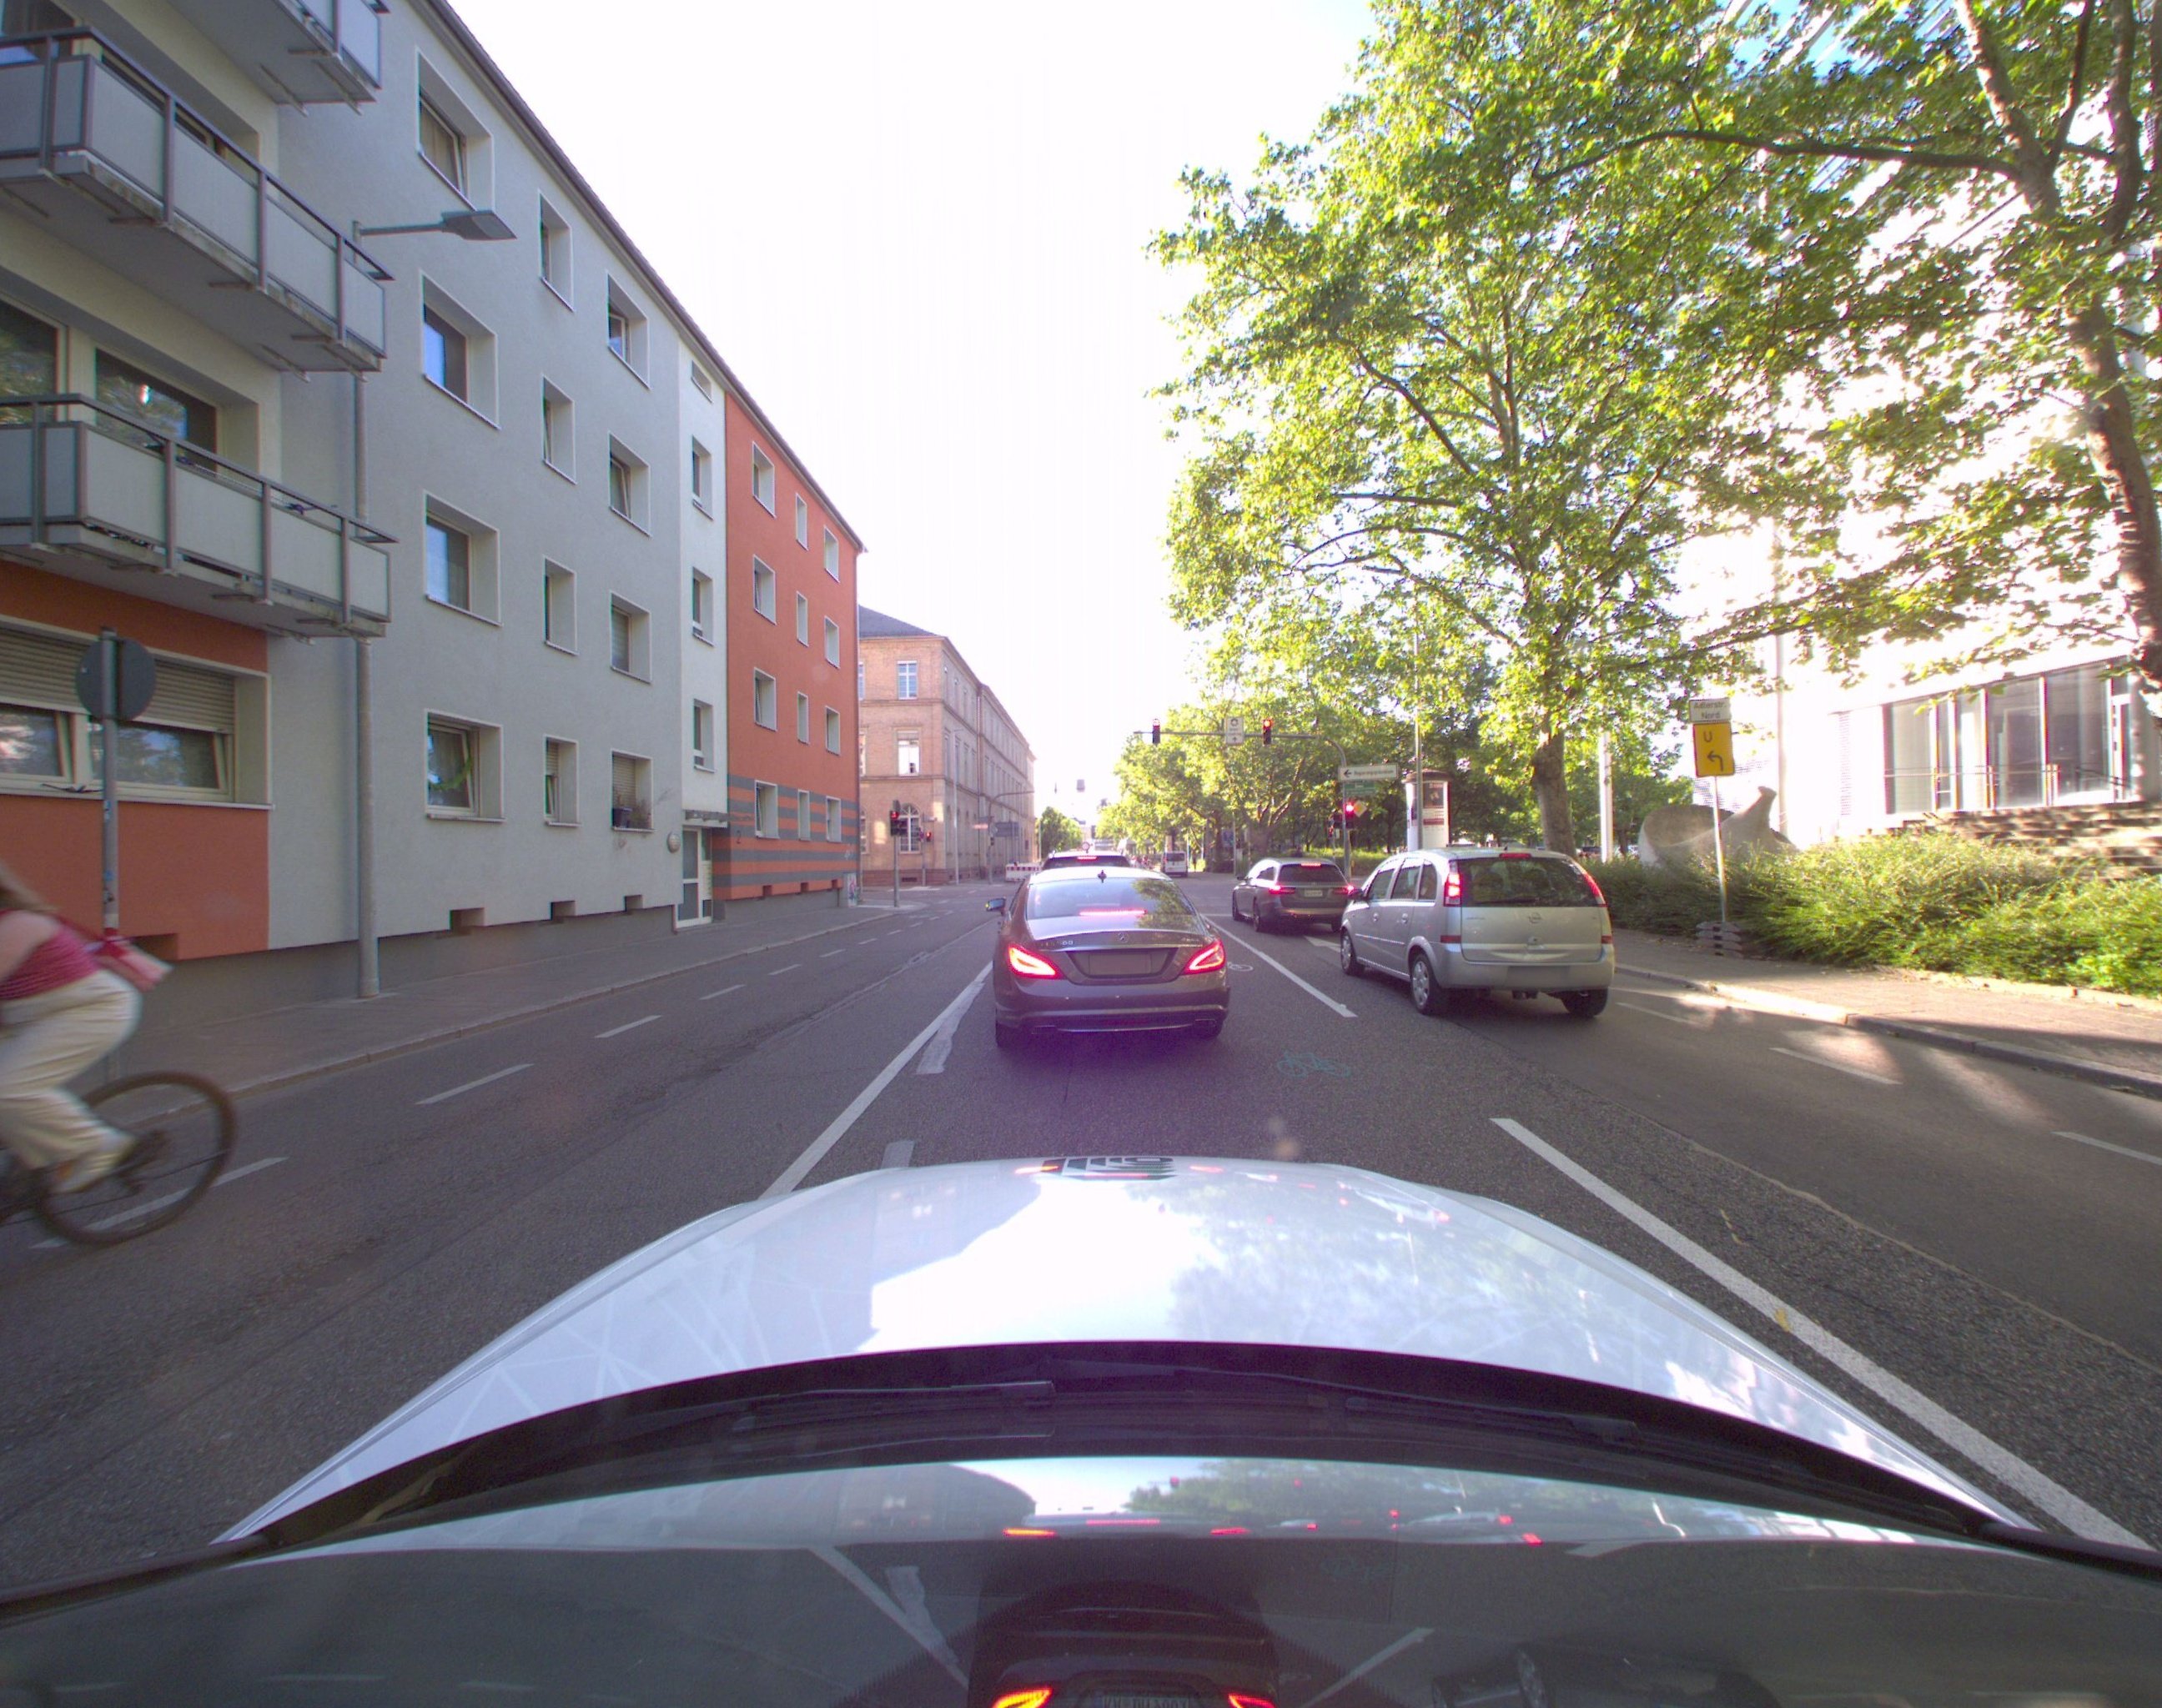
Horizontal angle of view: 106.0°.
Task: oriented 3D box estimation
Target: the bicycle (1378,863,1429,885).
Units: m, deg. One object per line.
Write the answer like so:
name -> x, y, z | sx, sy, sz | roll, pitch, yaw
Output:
bicycle -> 14.359, 0.896, 36.255 | 1.979, 0.903, 0.734 | -1, 0, 0

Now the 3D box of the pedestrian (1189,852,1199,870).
pedestrian -> 10.473, 0.638, 75.228 | 0.827, 1.606, 0.652 | -1, 0, 1

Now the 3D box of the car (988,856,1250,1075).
car -> 0.085, 0.764, 7.781 | 1.801, 1.456, 4.342 | -1, 0, -5

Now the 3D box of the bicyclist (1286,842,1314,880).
bicyclist -> 9.593, 0.297, 35.727 | 1.013, 1.642, 0.607 | -1, 0, -4

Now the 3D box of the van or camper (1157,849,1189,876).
van or camper -> 6.908, 0.629, 61.478 | 1.986, 1.941, 4.595 | -1, 0, 1

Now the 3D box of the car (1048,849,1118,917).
car -> 0.125, 0.766, 23.376 | 1.813, 1.762, 4.002 | -1, 0, 2

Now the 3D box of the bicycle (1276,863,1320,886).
bicycle -> 9.505, 0.892, 35.714 | 1.791, 0.946, 0.613 | -1, 0, -5

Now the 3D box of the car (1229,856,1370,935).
car -> 4.477, 0.770, 17.418 | 1.906, 1.464, 4.671 | 0, 0, 2

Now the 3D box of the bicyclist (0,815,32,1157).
bicyclist -> -5.368, 0.605, 3.422 | 0.838, 1.555, 0.840 | -1, 0, 5

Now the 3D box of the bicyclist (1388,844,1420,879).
bicyclist -> 14.381, 0.326, 36.263 | 1.113, 1.490, 0.712 | -1, 0, 1

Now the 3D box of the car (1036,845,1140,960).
car -> 0.097, 0.708, 13.811 | 1.513, 1.647, 3.879 | -1, 0, 0

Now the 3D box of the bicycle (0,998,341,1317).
bicycle -> -4.162, 1.190, 3.159 | 0.689, 0.929, 1.868 | -1, 0, 10

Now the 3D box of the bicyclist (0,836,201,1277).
bicyclist -> -4.197, 0.730, 3.054 | 0.681, 1.578, 0.984 | -1, 0, 9

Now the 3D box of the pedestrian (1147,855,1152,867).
pedestrian -> 8.518, 0.881, 101.154 | 0.646, 1.433, 0.659 | -1, 0, 1

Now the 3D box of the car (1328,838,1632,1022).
car -> 4.088, 0.675, 9.090 | 1.694, 1.603, 3.863 | -1, 0, 4

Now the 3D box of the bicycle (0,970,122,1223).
bicycle -> -5.357, 1.135, 3.229 | 0.859, 1.079, 1.839 | -1, 0, 5
